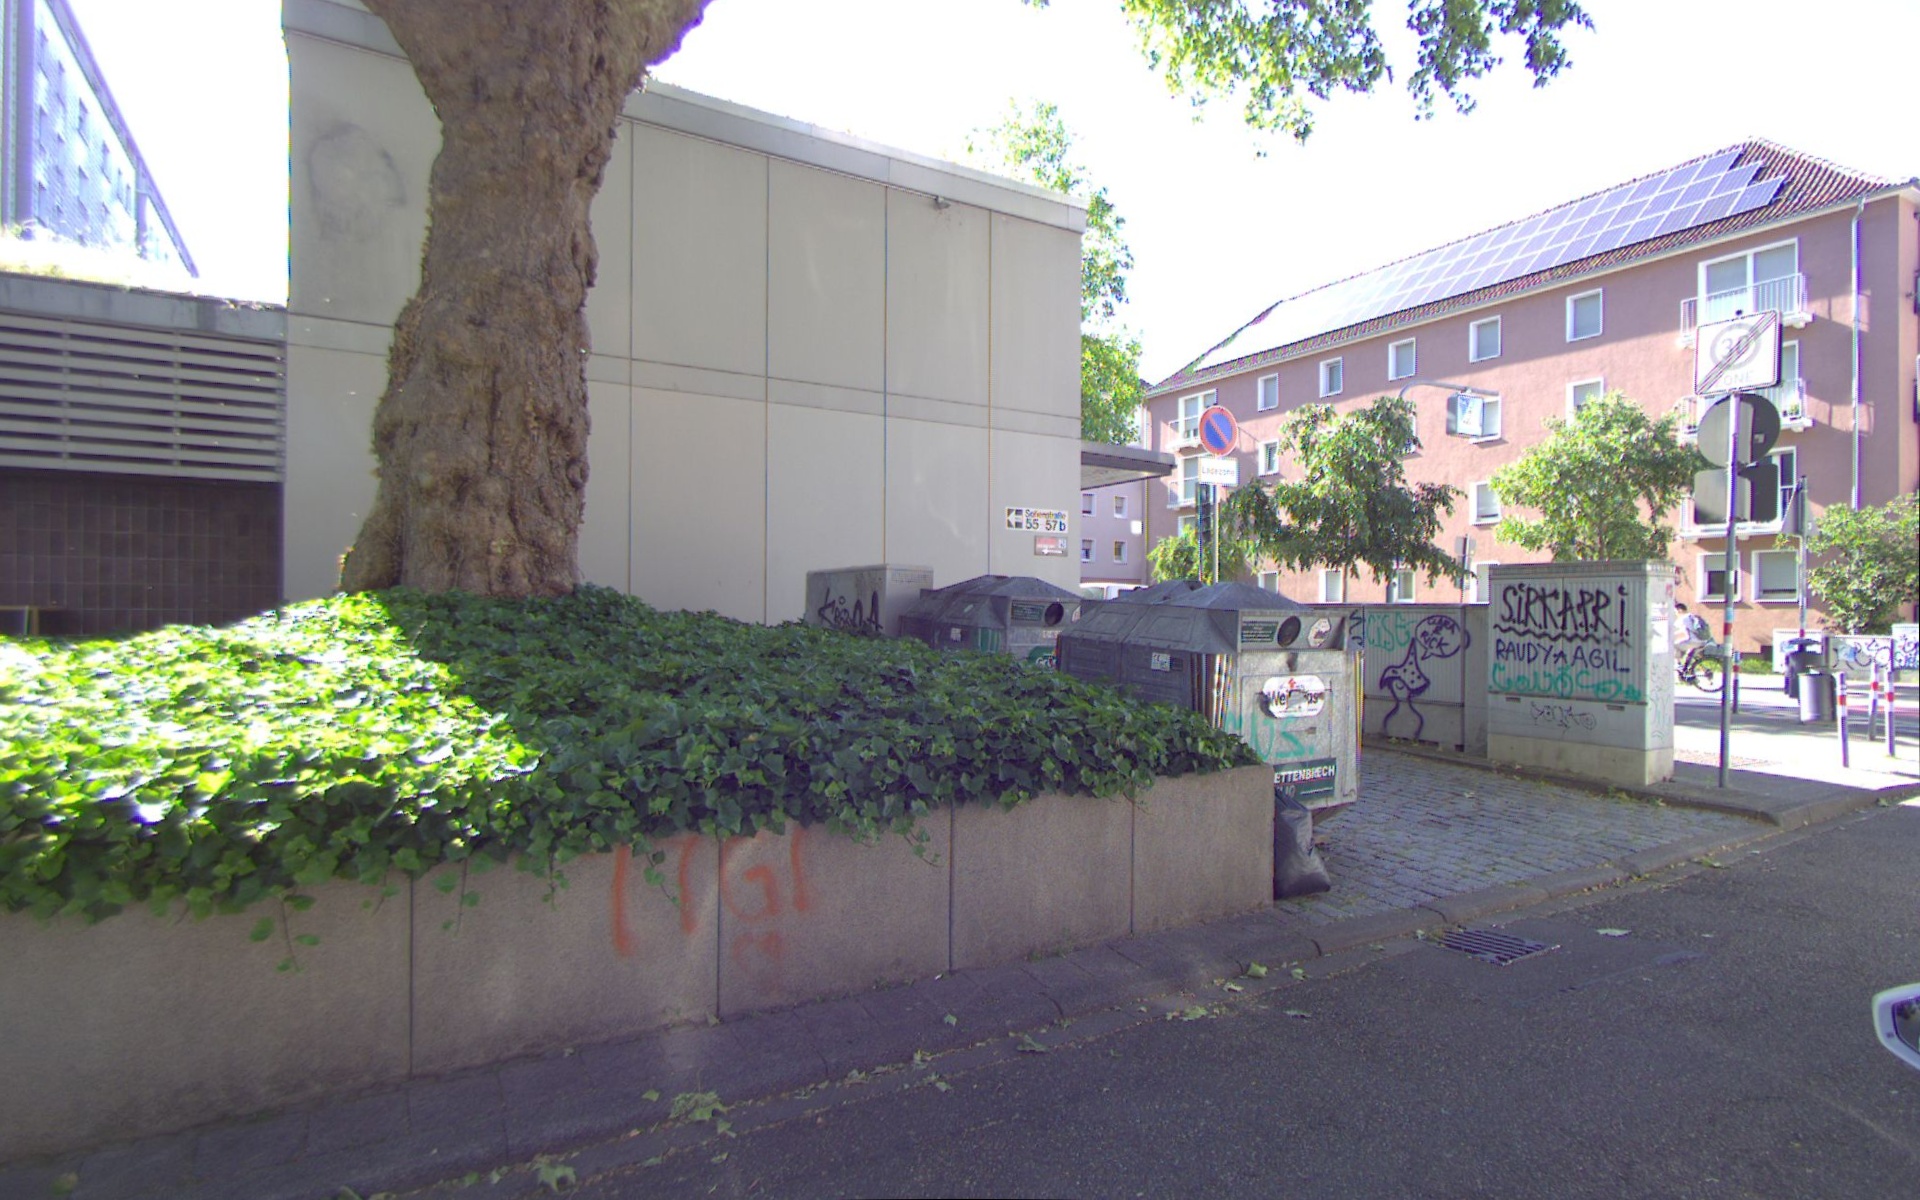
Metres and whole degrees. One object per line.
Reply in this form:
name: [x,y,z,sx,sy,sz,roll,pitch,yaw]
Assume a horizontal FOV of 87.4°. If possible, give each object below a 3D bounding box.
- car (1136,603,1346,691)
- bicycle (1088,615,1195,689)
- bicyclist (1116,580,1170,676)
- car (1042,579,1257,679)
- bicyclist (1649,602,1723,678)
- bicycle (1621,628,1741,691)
car: [5.783,0.911,20.493,4.256,1.634,1.743,1,-1,-32]
bicycle: [3.104,0.860,17.127,1.699,1.168,0.798,1,1,-33]
bicyclist: [3.123,0.470,17.148,0.529,1.605,0.699,2,0,-34]
car: [4.317,0.690,22.589,4.694,2.032,1.942,3,-2,-33]
bicyclist: [14.989,0.813,20.759,0.730,1.539,1.037,1,-1,-30]
bicycle: [14.880,1.194,20.784,0.622,1.213,1.938,1,-1,-30]
